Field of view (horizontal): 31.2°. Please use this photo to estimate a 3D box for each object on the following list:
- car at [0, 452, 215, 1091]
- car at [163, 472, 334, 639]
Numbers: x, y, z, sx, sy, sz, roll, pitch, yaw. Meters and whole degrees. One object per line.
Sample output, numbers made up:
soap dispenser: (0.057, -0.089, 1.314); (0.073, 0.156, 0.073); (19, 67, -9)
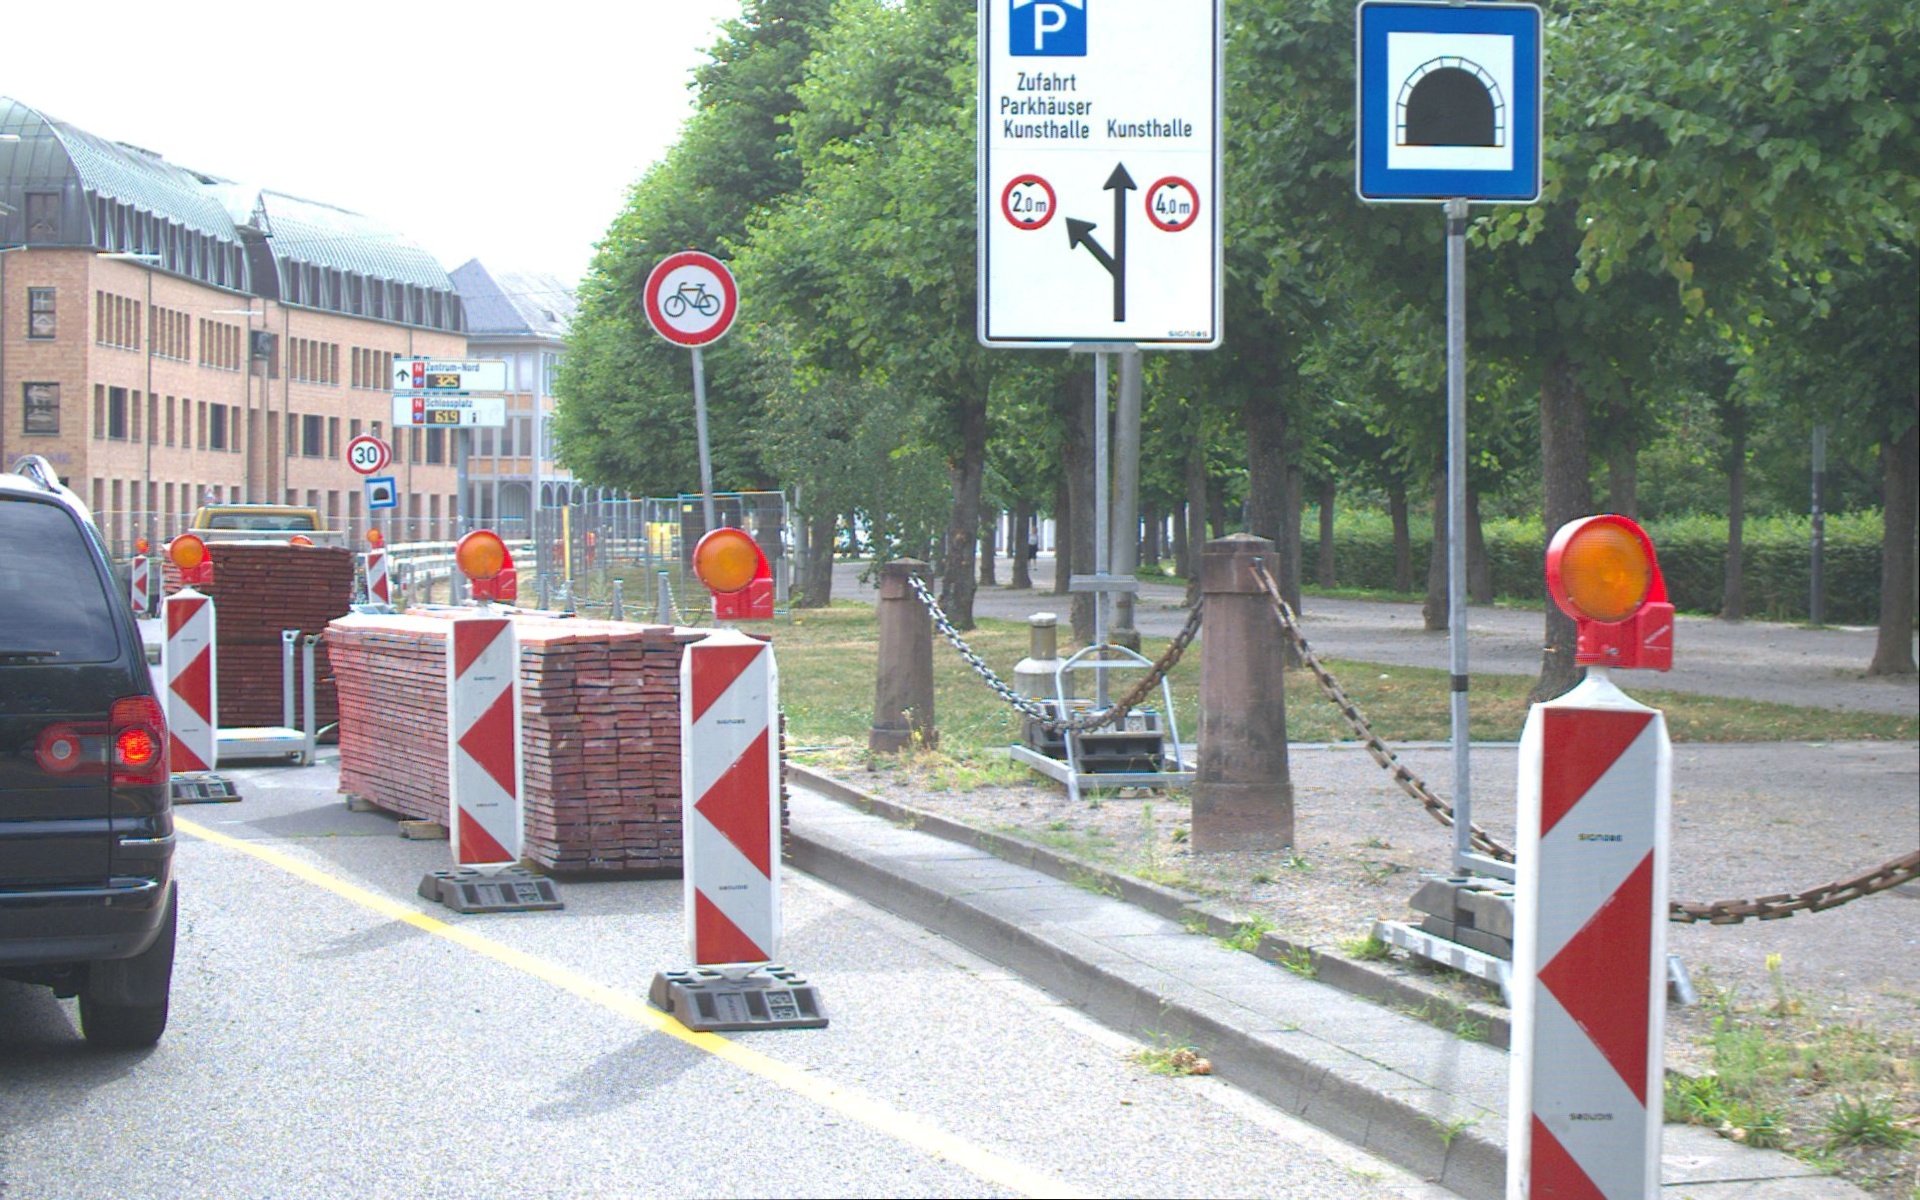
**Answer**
car: (-3.598, 0.413, 10.966); (1.793, 1.702, 4.132); (0, 1, -21)
car: (-9.395, -0.633, 45.180); (1.993, 2.006, 4.347); (0, 3, -14)
